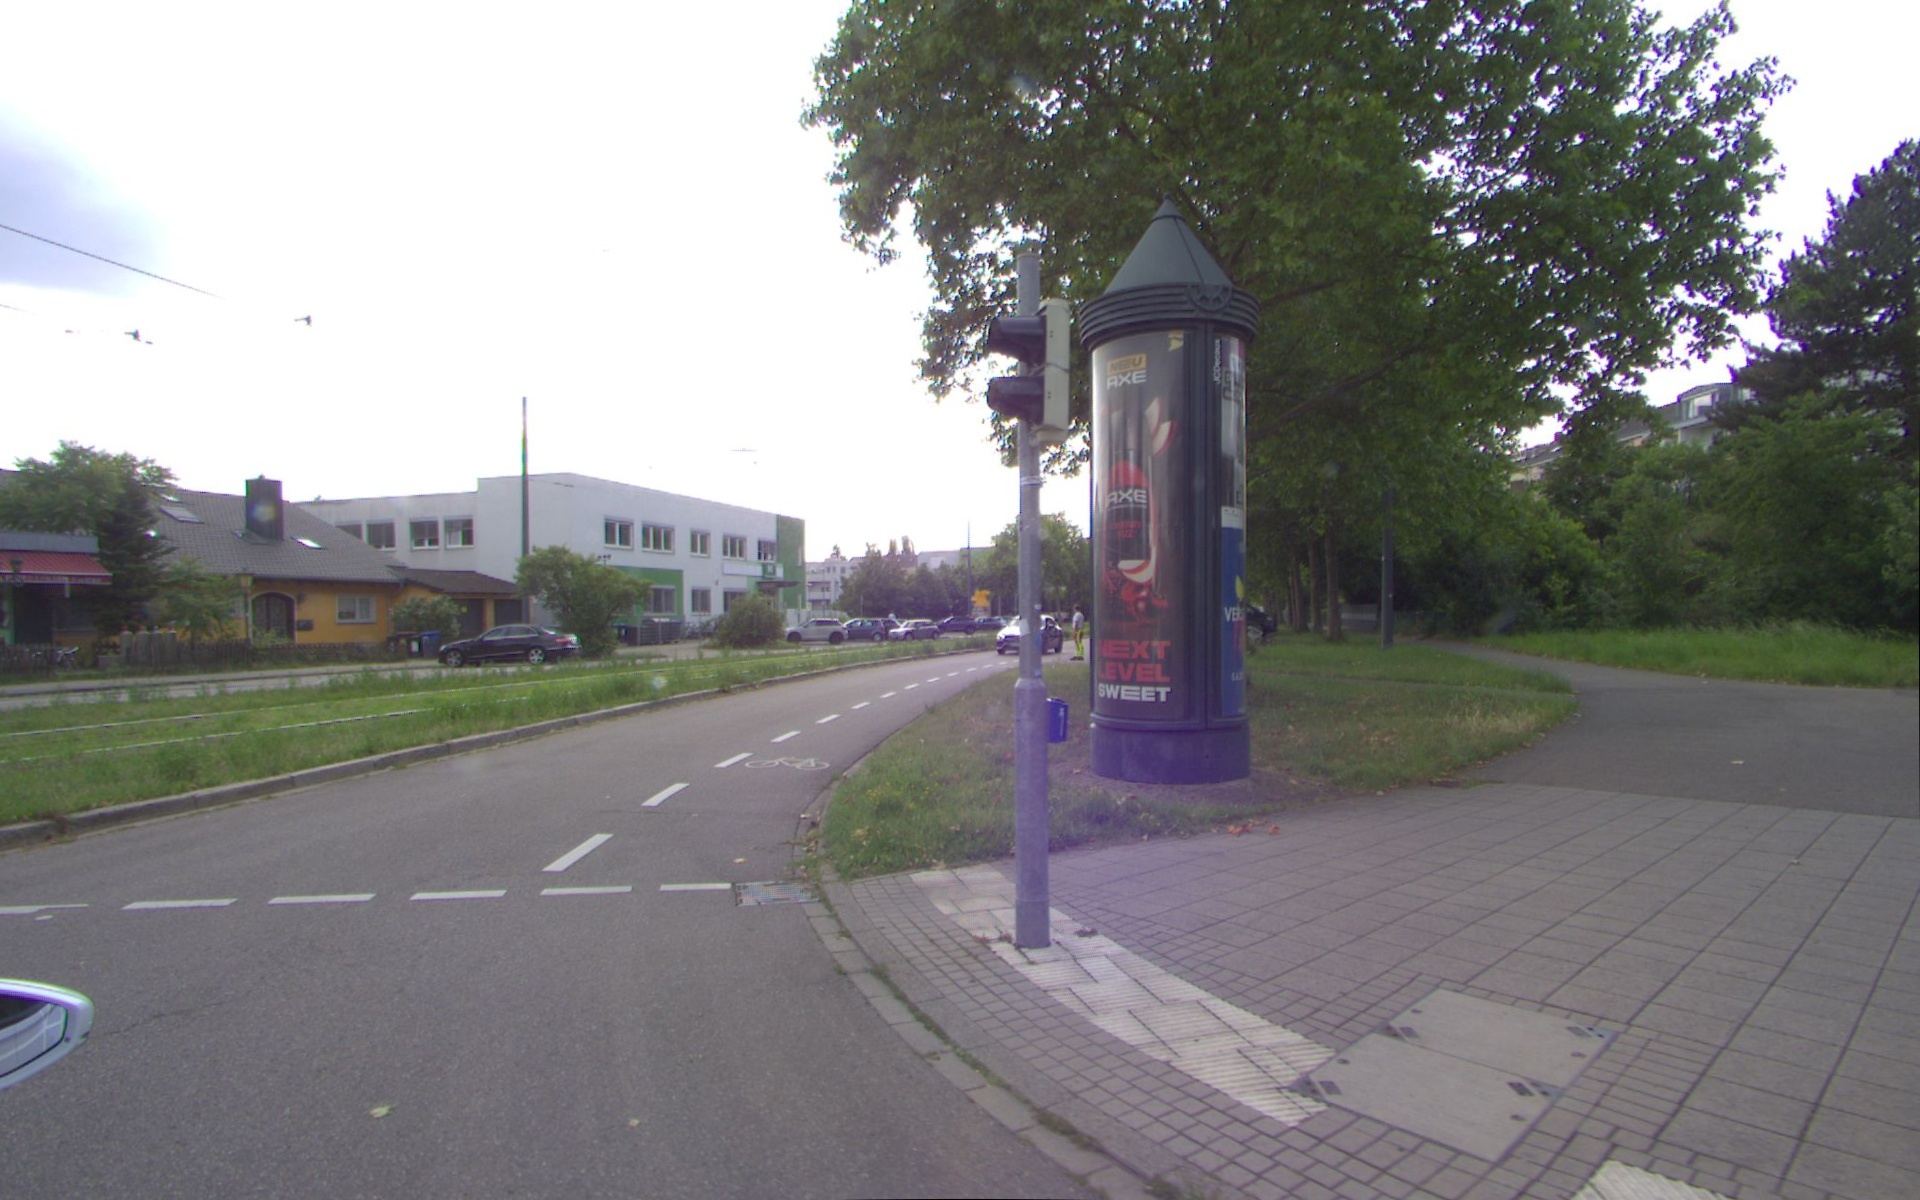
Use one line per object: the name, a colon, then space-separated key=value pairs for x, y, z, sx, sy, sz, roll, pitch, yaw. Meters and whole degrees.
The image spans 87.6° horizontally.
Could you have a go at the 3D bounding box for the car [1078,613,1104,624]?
car: x=22.355 y=3.122 z=170.678 sx=3.928 sy=1.862 sz=1.819 roll=2 pitch=0 yaw=-14

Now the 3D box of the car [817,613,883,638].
car: x=-7.366 y=1.722 z=67.026 sx=4.234 sy=1.650 sz=1.901 roll=0 pitch=0 yaw=-11

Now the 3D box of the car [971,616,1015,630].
car: x=3.352 y=2.384 z=102.187 sx=4.232 sy=1.381 sz=1.902 roll=0 pitch=0 yaw=-5

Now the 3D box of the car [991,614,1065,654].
car: x=2.642 y=1.255 z=37.923 sx=1.808 sy=1.411 sz=4.600 roll=0 pitch=-1 yaw=17

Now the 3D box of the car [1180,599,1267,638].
car: x=14.487 y=1.030 z=55.032 sx=4.476 sy=2.039 sz=1.997 roll=-1 pitch=-1 yaw=18

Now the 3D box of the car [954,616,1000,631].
car: x=1.602 y=2.254 z=96.551 sx=4.232 sy=1.381 sz=1.902 roll=0 pitch=0 yaw=-5

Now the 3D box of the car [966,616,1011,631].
car: x=2.801 y=2.331 z=99.649 sx=4.232 sy=1.381 sz=1.902 roll=0 pitch=0 yaw=-5

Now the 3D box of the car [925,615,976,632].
car: x=-0.803 y=2.037 z=86.537 sx=4.232 sy=1.381 sz=1.901 roll=0 pitch=0 yaw=-6

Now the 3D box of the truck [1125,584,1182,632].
truck: x=14.297 y=0.617 z=73.554 sx=3.137 sy=3.361 sz=7.510 roll=-1 pitch=-1 yaw=18

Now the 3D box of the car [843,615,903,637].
car: x=-6.088 y=1.819 z=69.867 sx=4.092 sy=1.523 sz=1.859 roll=0 pitch=-1 yaw=-10

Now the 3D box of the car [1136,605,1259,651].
car: x=9.092 y=1.093 z=38.375 sx=4.460 sy=1.665 sz=1.998 roll=-1 pitch=-2 yaw=16

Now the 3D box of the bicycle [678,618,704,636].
bicycle: x=-17.149 y=1.719 z=63.762 sx=1.599 sy=1.181 sz=0.702 roll=-1 pitch=0 yaw=34

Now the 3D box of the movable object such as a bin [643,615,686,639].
movable object such as a bin: x=-16.635 y=1.502 z=56.424 sx=1.353 sy=1.344 sz=2.127 roll=-1 pitch=0 yaw=21

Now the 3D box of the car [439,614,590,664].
car: x=-15.926 y=1.376 z=35.970 sx=4.491 sy=1.601 sz=2.000 roll=-1 pitch=0 yaw=-3

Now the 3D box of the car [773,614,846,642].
car: x=-9.218 y=1.686 z=61.254 sx=4.238 sy=1.650 sz=1.899 roll=0 pitch=0 yaw=-16

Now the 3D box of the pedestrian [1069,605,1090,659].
pedestrian: x=3.823 y=1.006 z=31.943 sx=0.576 sy=1.706 sz=0.493 roll=0 pitch=0 yaw=16

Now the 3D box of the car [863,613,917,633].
car: x=-5.324 y=1.734 z=75.994 sx=4.090 sy=1.523 sz=1.860 roll=0 pitch=0 yaw=-5

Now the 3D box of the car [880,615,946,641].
car: x=-3.064 y=1.815 z=65.281 sx=1.880 sy=1.650 sz=4.280 roll=0 pitch=-1 yaw=41

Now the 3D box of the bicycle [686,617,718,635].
bicycle: x=-16.065 y=1.634 z=62.394 sx=1.764 sy=1.096 sz=0.735 roll=-1 pitch=0 yaw=15

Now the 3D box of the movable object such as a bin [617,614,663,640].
movable object such as a bin: x=-17.346 y=1.452 z=54.356 sx=1.353 sy=1.344 sz=2.112 roll=-1 pitch=0 yaw=21

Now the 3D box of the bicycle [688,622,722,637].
bicycle: x=-16.628 y=1.924 z=65.204 sx=2.122 sy=0.983 sz=0.729 roll=-1 pitch=0 yaw=22

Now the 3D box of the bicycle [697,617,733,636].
bicycle: x=-16.142 y=1.749 z=66.002 sx=2.312 sy=1.181 sz=0.758 roll=-1 pitch=0 yaw=23
